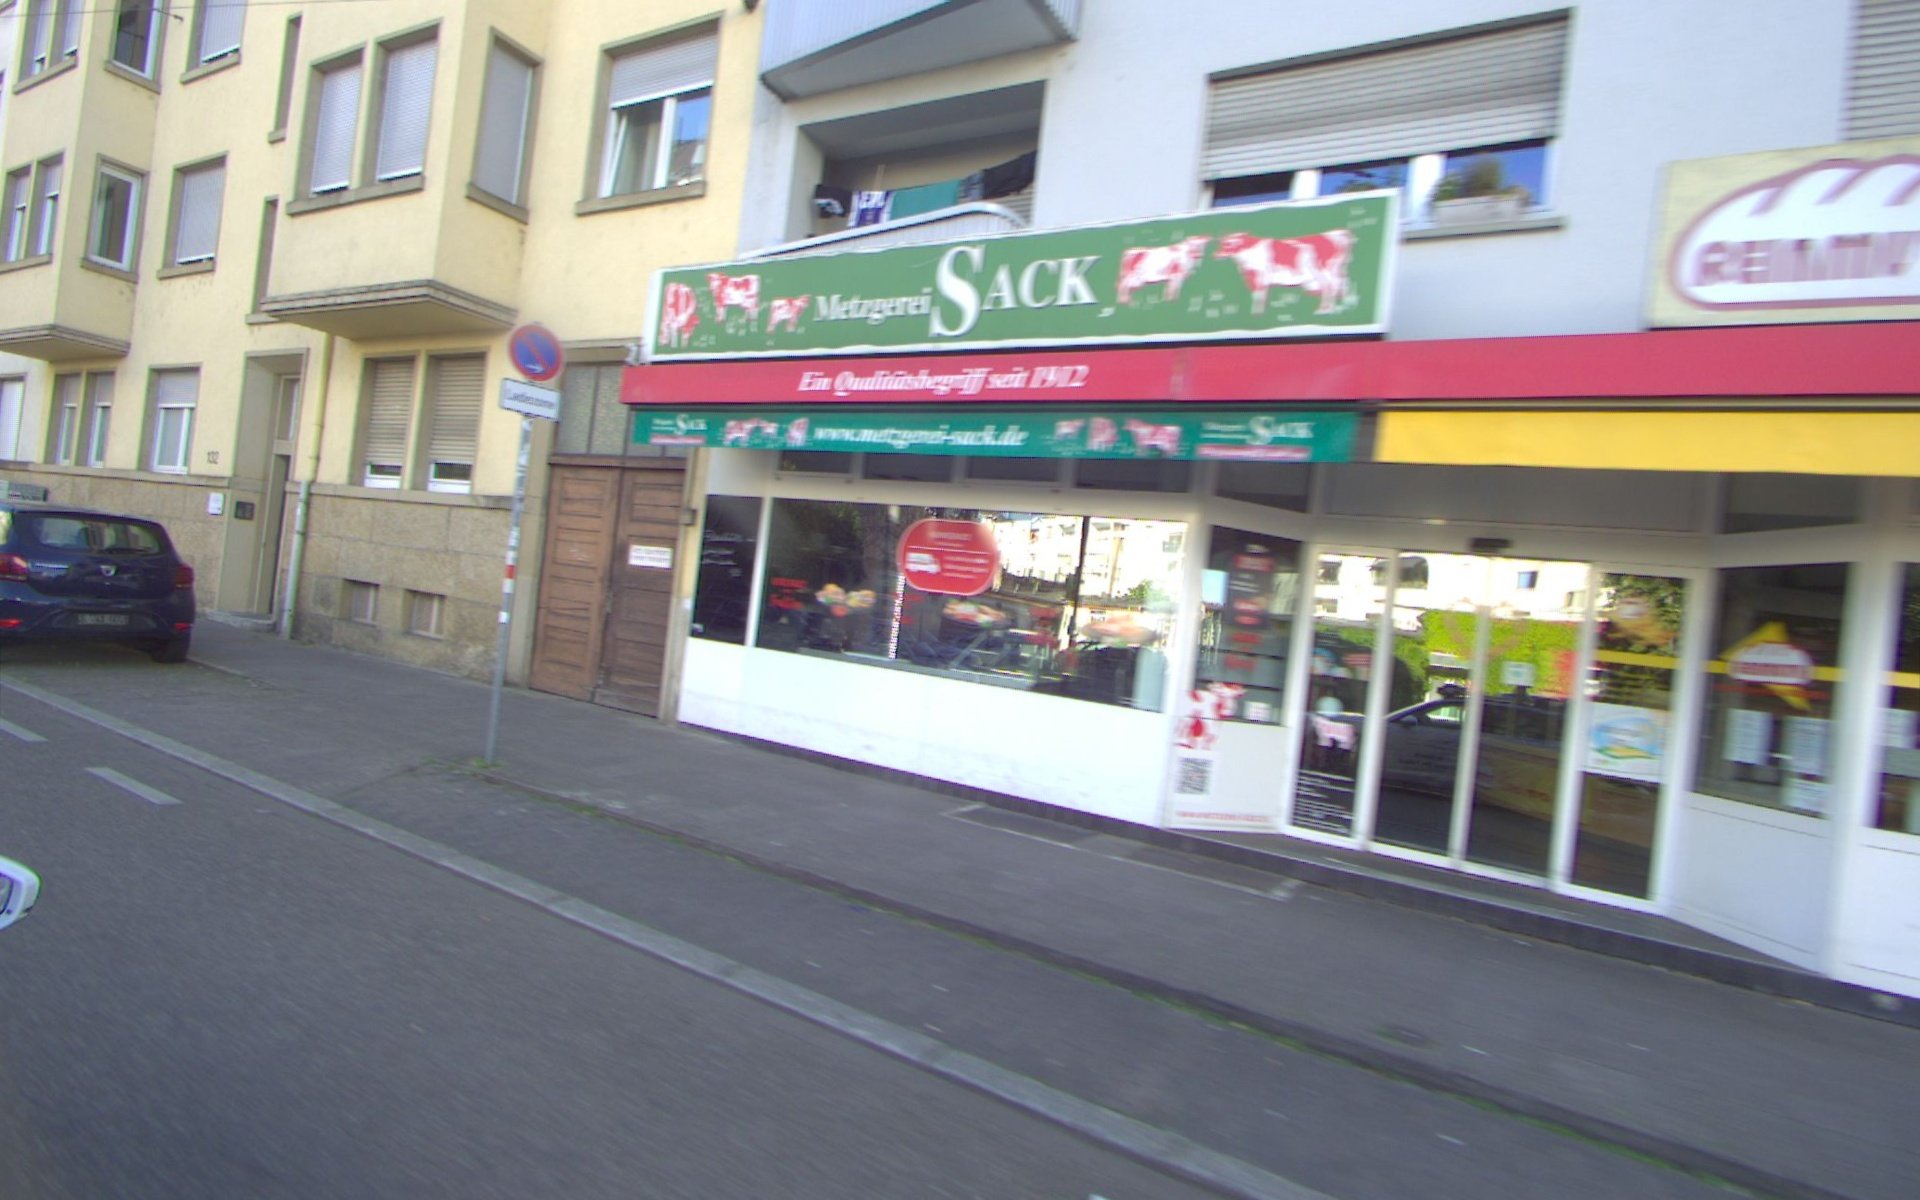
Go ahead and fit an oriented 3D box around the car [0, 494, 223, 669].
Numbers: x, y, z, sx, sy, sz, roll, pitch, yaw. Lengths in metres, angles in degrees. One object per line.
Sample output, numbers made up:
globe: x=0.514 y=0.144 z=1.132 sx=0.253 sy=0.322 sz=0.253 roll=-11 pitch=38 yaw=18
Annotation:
car: x=-9.610 y=-0.295 z=10.444 sx=3.935 sy=1.509 sz=1.720 roll=6 pitch=0 yaw=32
